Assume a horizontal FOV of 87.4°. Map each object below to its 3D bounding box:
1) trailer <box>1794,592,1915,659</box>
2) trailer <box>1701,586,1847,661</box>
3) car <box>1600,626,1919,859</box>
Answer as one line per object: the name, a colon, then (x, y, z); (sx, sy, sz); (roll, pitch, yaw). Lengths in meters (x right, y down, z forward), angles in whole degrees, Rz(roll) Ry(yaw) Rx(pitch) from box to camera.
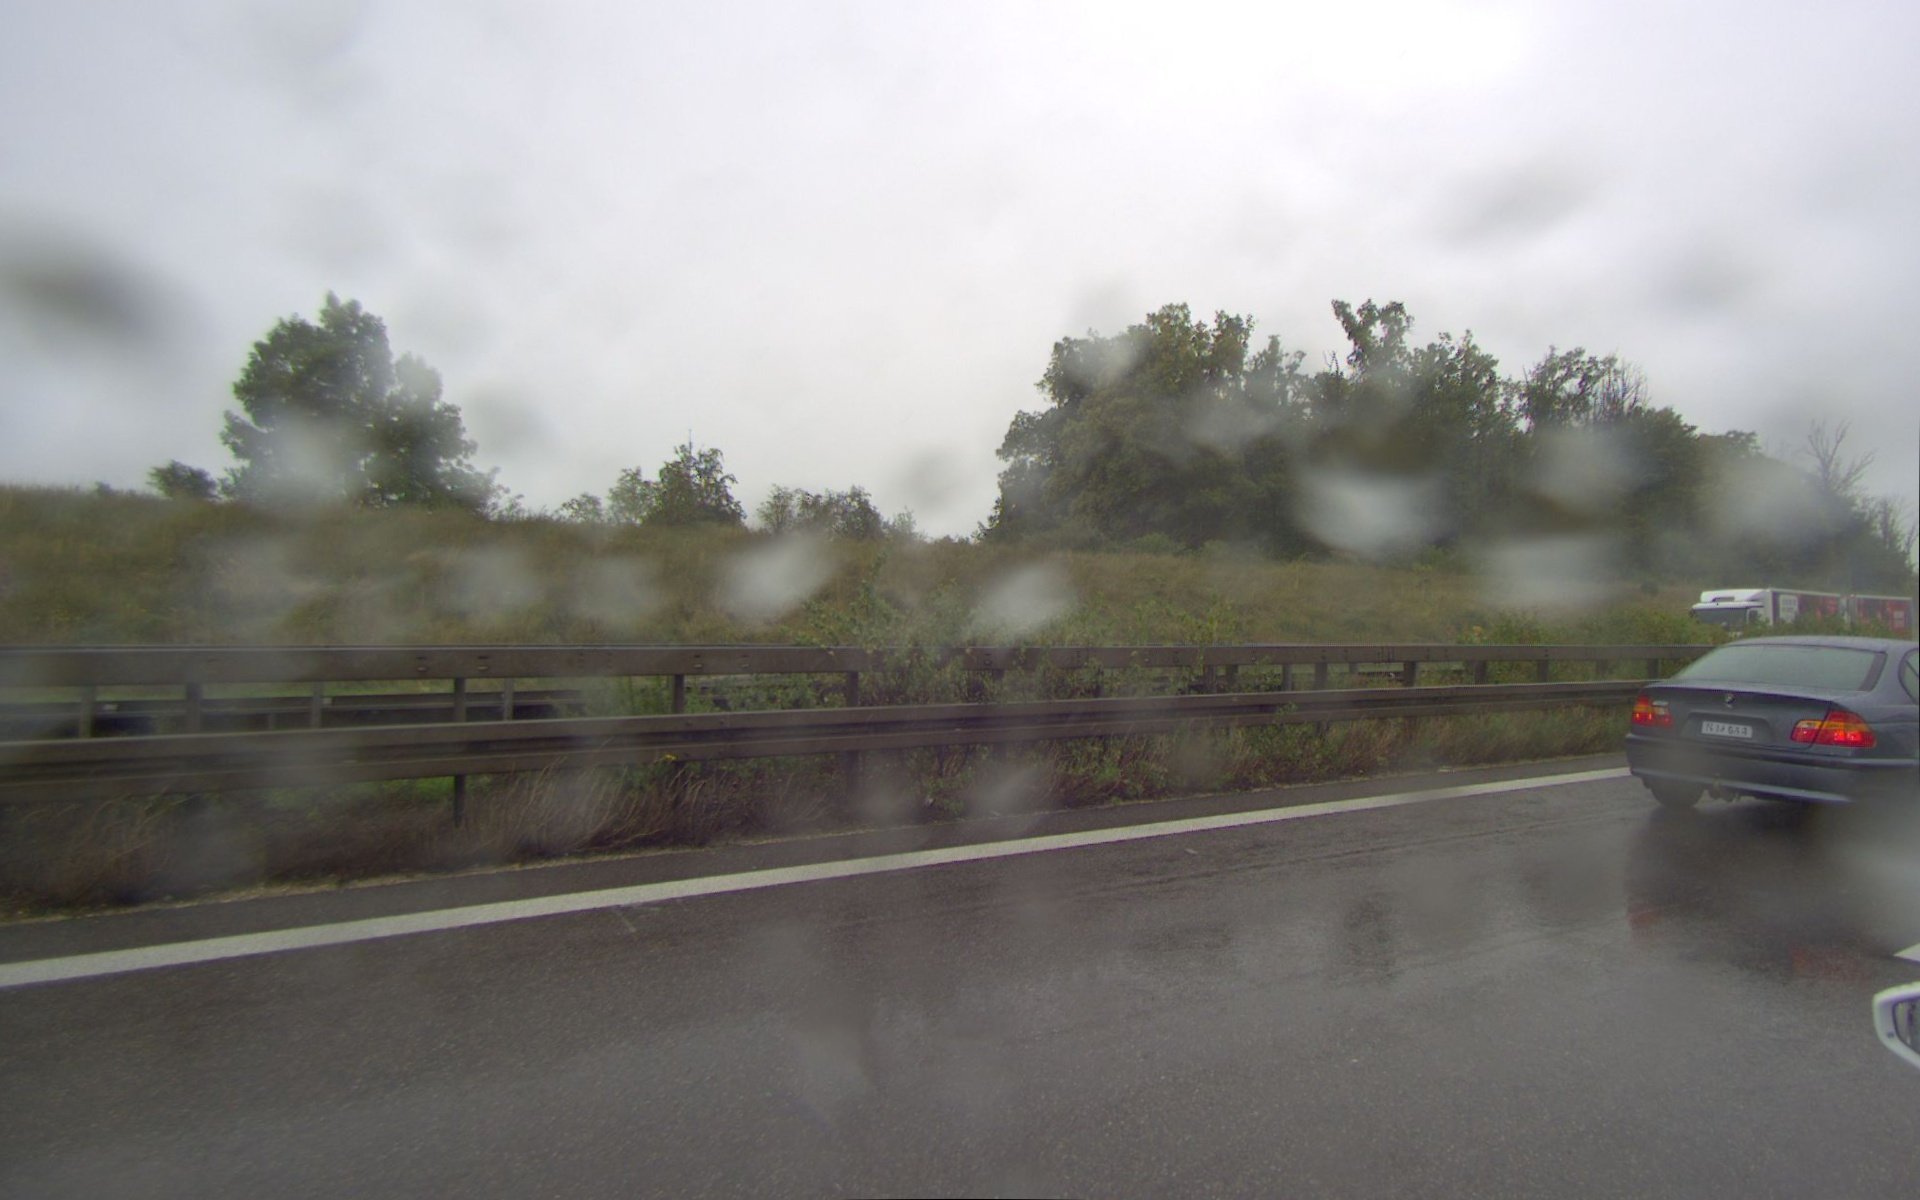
trailer: (44.644, 1.283, 50.046); (8.770, 3.123, 1.983); (1, 0, -31)
trailer: (36.846, 1.081, 45.334); (9.445, 3.123, 1.983); (1, 0, -31)
car: (7.203, 0.967, 8.092); (4.179, 1.418, 1.710); (2, -1, -30)
